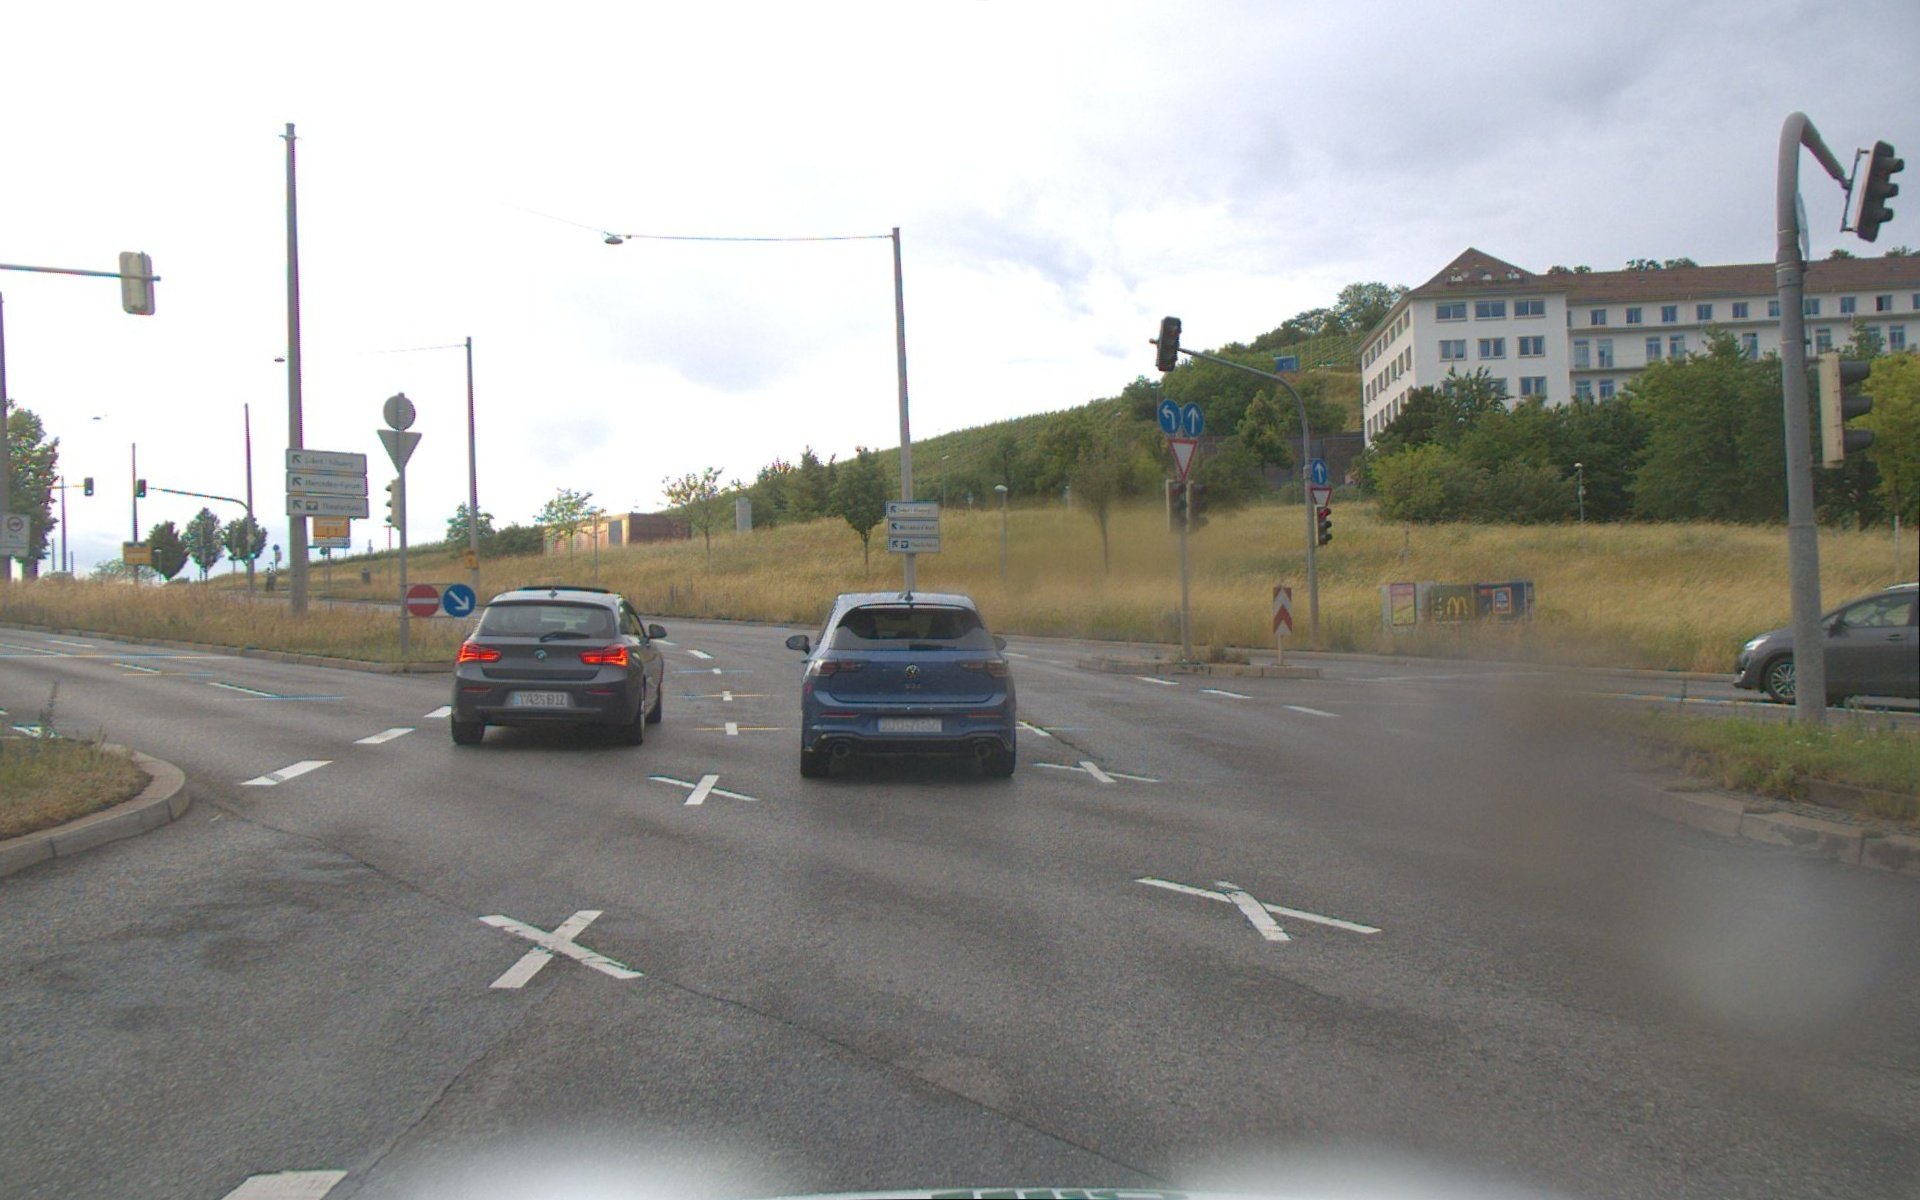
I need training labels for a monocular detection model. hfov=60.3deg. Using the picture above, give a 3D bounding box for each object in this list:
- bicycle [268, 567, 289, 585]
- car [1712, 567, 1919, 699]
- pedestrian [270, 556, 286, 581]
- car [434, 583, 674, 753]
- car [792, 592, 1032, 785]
[{"bbox_3d":[-44.119,-1.565,107.032,0.630,1.124,1.724,-3,1,-44],"label":"bicycle"},{"bbox_3d":[12.669,0.451,21.892,1.983,1.671,4.557,2,-1,-42],"label":"car"},{"bbox_3d":[-44.141,-2.066,107.036,0.630,1.598,0.881,-2,1,-44],"label":"pedestrian"},{"bbox_3d":[-3.928,0.586,16.612,1.833,1.487,3.970,0,0,-7],"label":"car"},{"bbox_3d":[-0.495,0.653,14.404,1.802,1.418,3.997,0,1,-4],"label":"car"}]
